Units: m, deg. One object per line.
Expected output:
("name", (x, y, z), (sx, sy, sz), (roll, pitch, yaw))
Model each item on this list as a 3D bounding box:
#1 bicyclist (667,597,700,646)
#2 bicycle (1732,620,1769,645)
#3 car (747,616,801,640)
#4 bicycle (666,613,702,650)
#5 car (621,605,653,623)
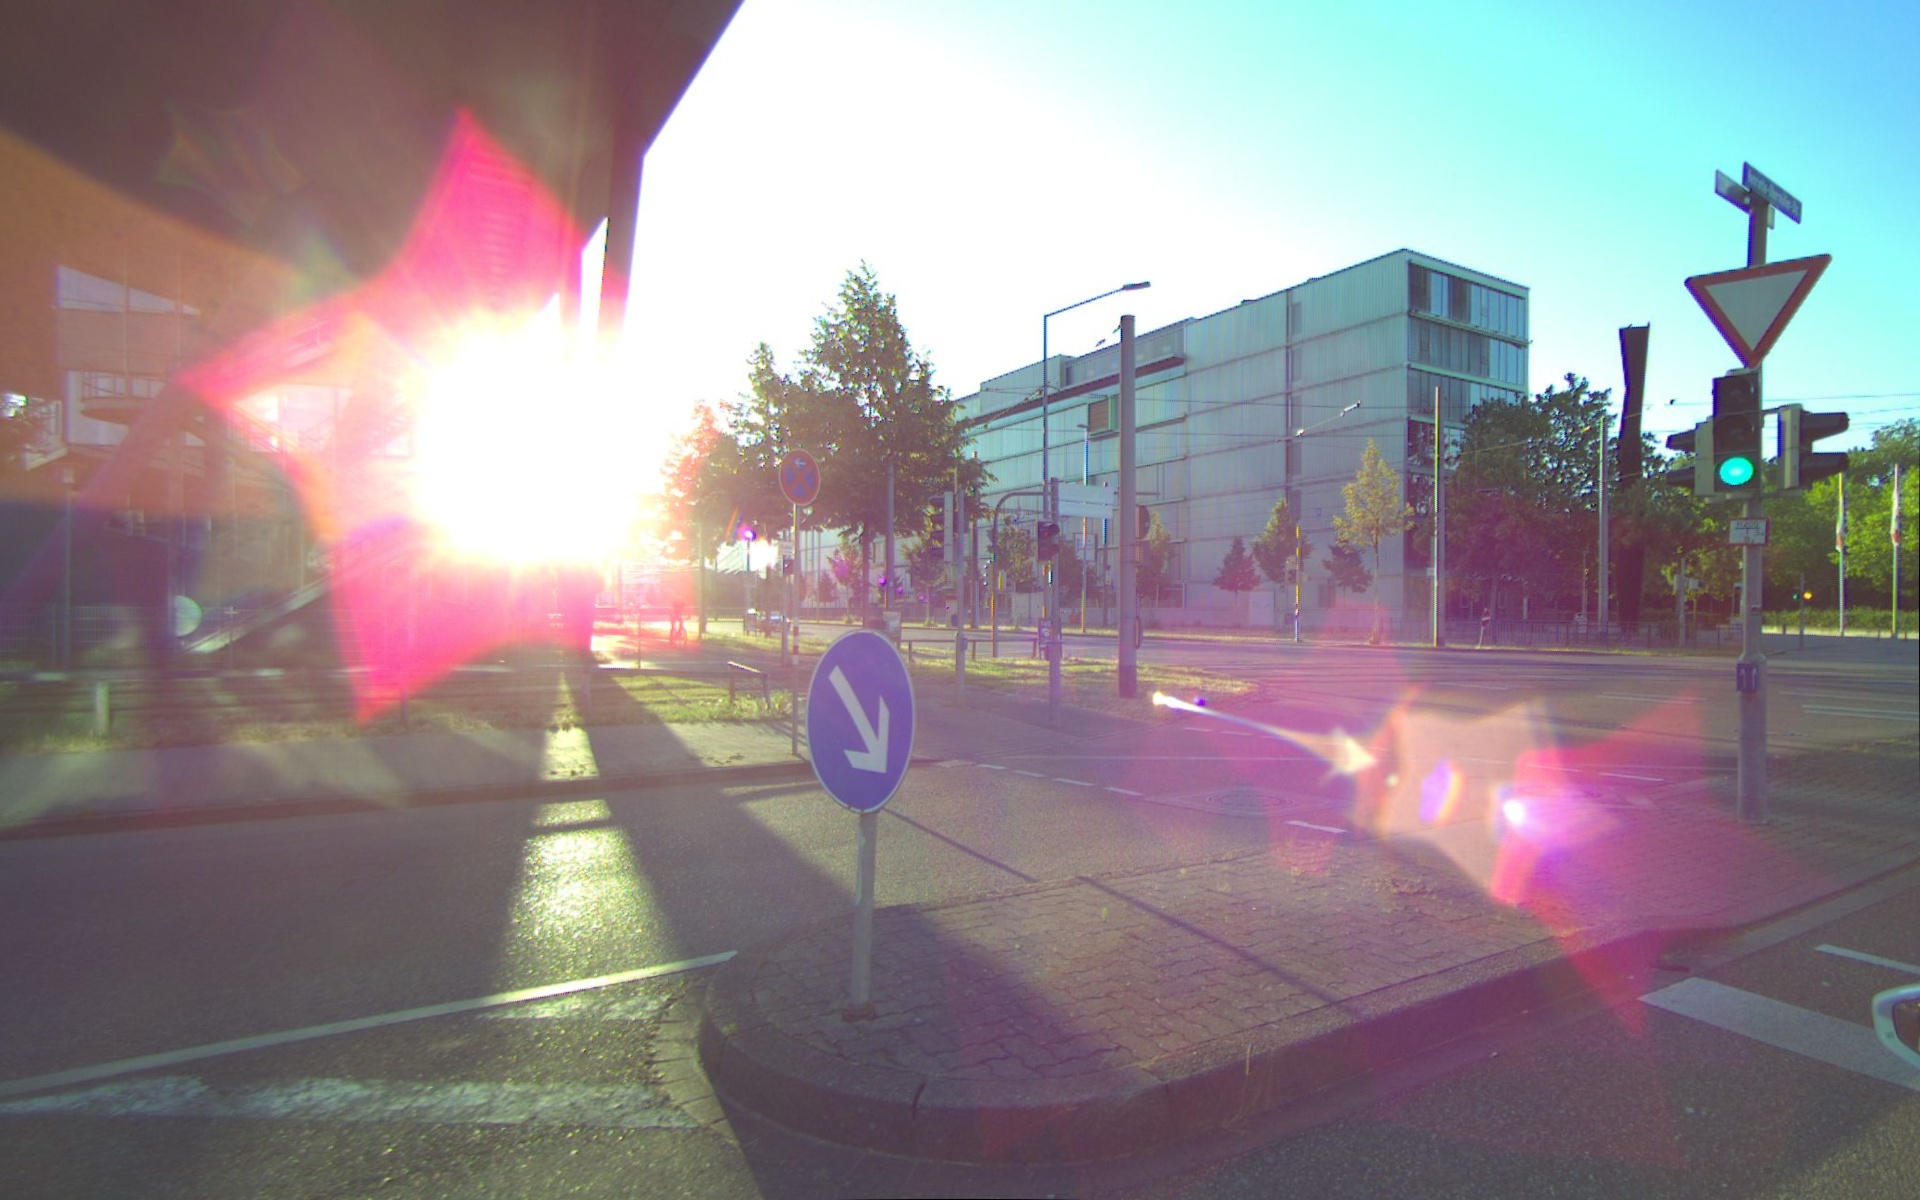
("bicyclist", (-9.495, 0.737, 34.447), (0.798, 1.655, 1.278), (1, 0, -29))
("bicycle", (38.309, 1.556, 48.657), (2.367, 1.151, 0.695), (1, 0, -33))
("car", (-11.903, 1.766, 64.151), (1.980, 1.439, 3.962), (1, 0, -34))
("bicycle", (-9.474, 1.049, 34.415), (0.734, 1.223, 2.094), (1, -1, -29))
("car", (-30.547, 1.300, 94.899), (1.979, 1.729, 3.963), (1, 0, -33))
